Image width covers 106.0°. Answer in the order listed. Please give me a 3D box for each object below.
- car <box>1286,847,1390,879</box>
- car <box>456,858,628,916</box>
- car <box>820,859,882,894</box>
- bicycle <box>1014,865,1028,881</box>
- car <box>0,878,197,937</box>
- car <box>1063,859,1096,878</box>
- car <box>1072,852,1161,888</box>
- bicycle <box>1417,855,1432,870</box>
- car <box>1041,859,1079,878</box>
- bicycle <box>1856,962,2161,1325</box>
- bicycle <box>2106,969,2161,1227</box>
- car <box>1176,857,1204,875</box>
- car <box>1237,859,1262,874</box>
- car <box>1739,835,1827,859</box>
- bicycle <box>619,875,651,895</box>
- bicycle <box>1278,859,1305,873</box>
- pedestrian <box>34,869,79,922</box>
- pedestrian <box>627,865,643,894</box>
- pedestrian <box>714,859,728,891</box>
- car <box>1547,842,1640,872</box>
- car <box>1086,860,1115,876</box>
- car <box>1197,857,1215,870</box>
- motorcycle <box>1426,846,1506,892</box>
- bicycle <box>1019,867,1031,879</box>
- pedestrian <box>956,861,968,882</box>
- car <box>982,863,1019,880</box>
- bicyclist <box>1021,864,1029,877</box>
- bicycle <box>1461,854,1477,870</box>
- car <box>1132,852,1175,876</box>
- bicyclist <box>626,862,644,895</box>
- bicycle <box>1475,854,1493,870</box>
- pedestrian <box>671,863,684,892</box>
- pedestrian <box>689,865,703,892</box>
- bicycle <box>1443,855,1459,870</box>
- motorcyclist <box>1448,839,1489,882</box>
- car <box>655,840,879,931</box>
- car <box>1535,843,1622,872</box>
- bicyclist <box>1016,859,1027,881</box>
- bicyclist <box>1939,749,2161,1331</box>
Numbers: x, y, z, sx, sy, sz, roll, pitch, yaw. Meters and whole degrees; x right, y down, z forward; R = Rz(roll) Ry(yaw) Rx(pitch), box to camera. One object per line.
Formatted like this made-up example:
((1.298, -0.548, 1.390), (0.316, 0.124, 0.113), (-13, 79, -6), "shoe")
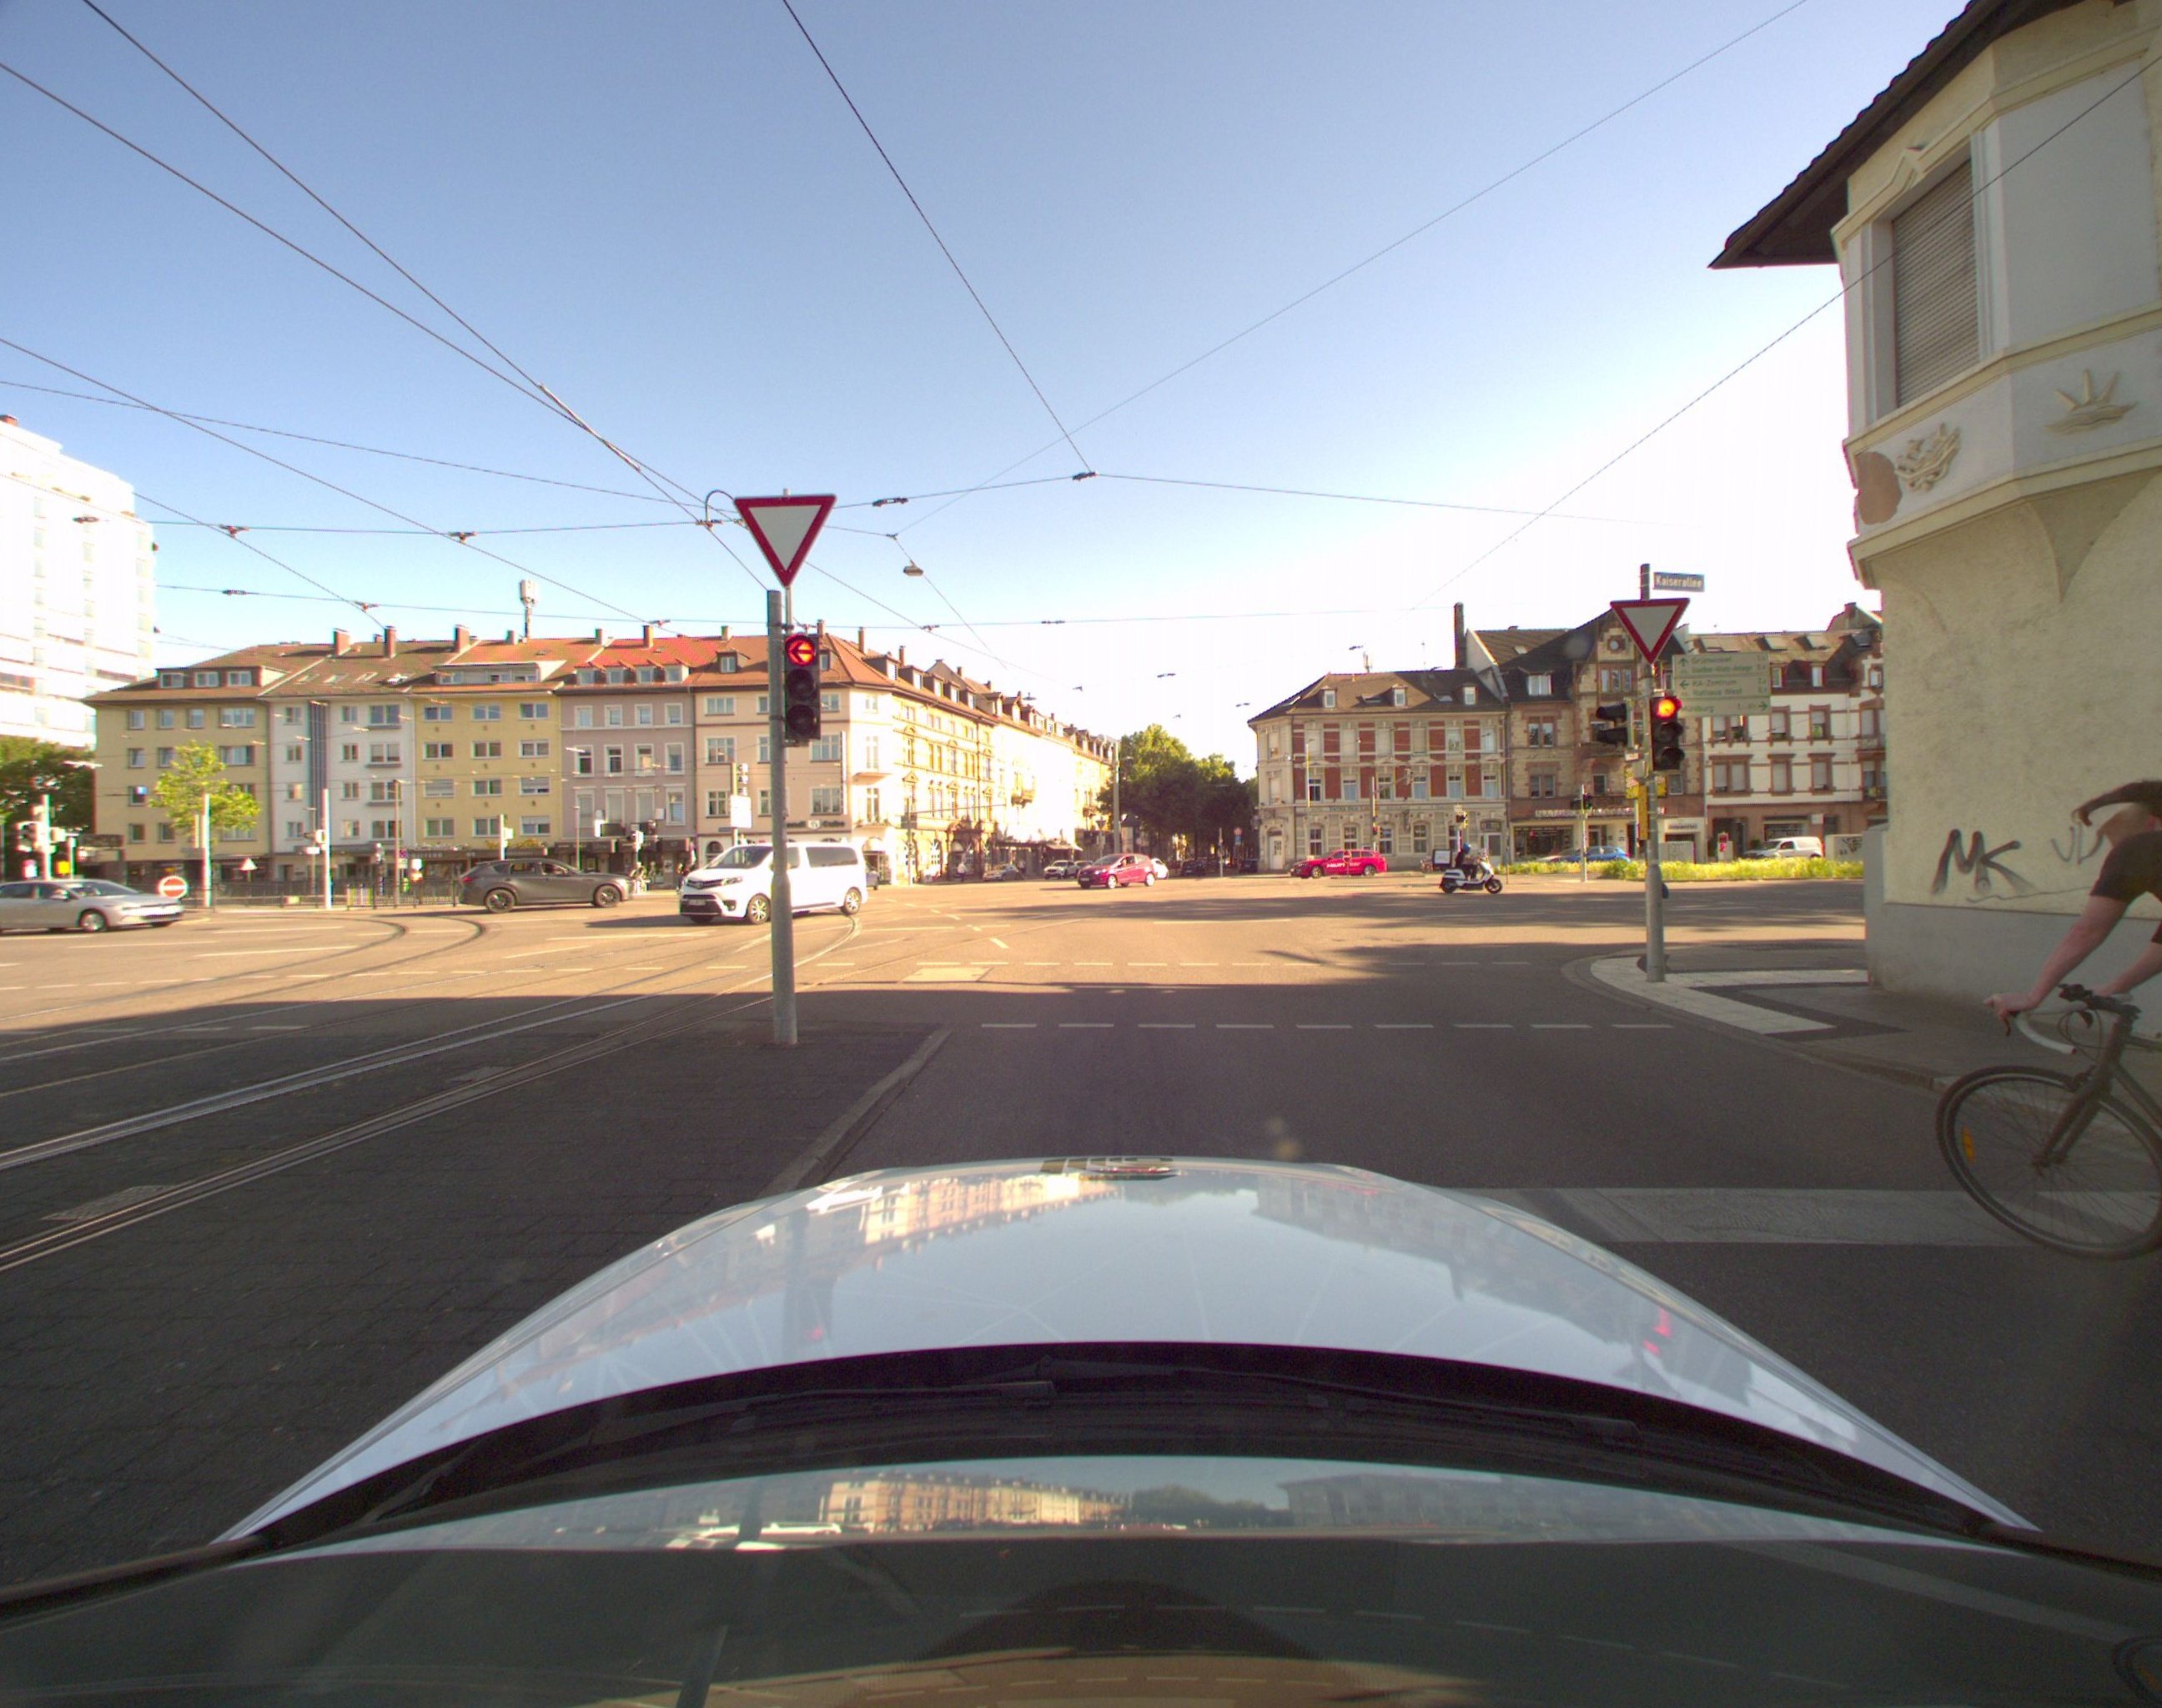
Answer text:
((13.324, 0.450, 42.301), (4.850, 1.469, 1.800), (-1, 1, -5), "car")
((-17.287, 0.999, 26.256), (4.474, 1.602, 1.853), (-2, 0, -36), "car")
((-10.702, 1.006, 38.120), (1.779, 1.503, 3.917), (-2, 0, -1), "car")
((-4.804, 1.549, 65.260), (0.561, 1.254, 1.564), (-1, -1, 17), "bicycle")
((-27.107, 1.420, 22.053), (4.205, 1.389, 1.732), (-2, 0, -4), "car")
((-0.107, 1.290, 73.747), (1.809, 1.685, 3.893), (-1, -1, 18), "car")
((1.562, 0.648, 35.181), (3.904, 1.426, 1.576), (-1, 1, -44), "car")
((22.499, 0.576, 53.367), (0.758, 0.963, 2.221), (-1, -1, 20), "bicycle")
((-1.686, 1.178, 67.488), (1.788, 1.585, 4.179), (-1, -1, 19), "car")
((3.579, 0.958, 2.634), (0.480, 0.991, 1.783), (0, -1, 2), "bicycle")
((4.450, 0.959, 2.455), (0.501, 0.983, 1.783), (0, -1, 2), "bicycle")
((9.338, 1.017, 69.585), (1.812, 1.403, 4.016), (-1, 0, 15), "car")
((17.071, 1.255, 82.266), (1.741, 1.556, 4.021), (-1, -1, 22), "car")
((45.150, -0.442, 52.444), (3.961, 1.438, 1.874), (0, -1, 5), "car")
((-24.336, 1.701, 44.448), (0.618, 1.030, 1.758), (0, -1, 7), "bicycle")
((14.703, 0.828, 56.928), (1.789, 0.963, 0.606), (-1, -1, 16), "bicycle")
((-31.707, 1.264, 25.213), (0.770, 1.609, 0.605), (0, -1, -44), "pedestrian")
((-25.917, 1.458, 47.320), (0.582, 1.648, 0.616), (0, -1, 1), "pedestrian")
((-20.515, 1.187, 46.395), (0.526, 1.823, 0.675), (0, -1, -6), "pedestrian")
((28.320, 0.177, 45.086), (3.970, 1.622, 1.806), (0, -1, 3), "car")
((1.911, 1.358, 79.691), (1.788, 1.575, 3.908), (-1, -1, 17), "car")
((17.902, 1.351, 116.370), (1.978, 1.684, 4.018), (-1, -1, 17), "car")
((11.816, 0.455, 25.019), (2.114, 1.333, 0.802), (-1, -1, 34), "motorcycle")
((-4.642, 1.567, 67.620), (0.469, 0.922, 1.458), (-1, -1, 17), "bicycle")
((-9.603, 1.431, 65.850), (0.562, 1.642, 0.797), (-1, -1, 25), "pedestrian")
((-6.631, 1.444, 67.343), (1.647, 1.374, 3.909), (-1, -1, 17), "car")
((-4.644, 1.386, 67.633), (0.469, 1.040, 0.540), (-1, -1, 17), "bicyclist")
((25.182, 0.541, 52.879), (0.758, 1.007, 2.231), (-1, -1, 20), "bicycle")
((5.090, 0.680, 56.534), (1.876, 1.454, 4.030), (-2, 1, 21), "car")
((-24.333, 1.309, 44.461), (0.618, 1.790, 0.616), (0, -1, 7), "bicyclist")
((26.041, 0.532, 52.678), (0.785, 1.016, 2.221), (-1, -1, 20), "bicycle")
((-22.828, 1.328, 46.067), (0.520, 1.648, 0.498), (0, -1, 1), "pedestrian")
((-21.735, 1.395, 45.964), (0.489, 1.492, 0.556), (0, -1, 1), "pedestrian")
((24.041, 0.562, 52.976), (0.758, 0.983, 2.221), (-1, -1, 20), "bicycle")
((11.884, 0.207, 24.974), (1.004, 1.300, 0.794), (-1, -1, 34), "motorcyclist")
((-7.434, 0.619, 19.994), (1.976, 1.853, 5.246), (0, 2, 24), "car")
((29.214, 0.194, 47.913), (3.970, 1.622, 1.806), (0, -1, 3), "car")
((-4.793, 1.285, 65.339), (0.561, 1.804, 0.918), (-1, -1, 17), "bicyclist")
((3.575, 0.566, 2.638), (0.587, 1.767, 0.936), (0, -1, 2), "bicyclist")
